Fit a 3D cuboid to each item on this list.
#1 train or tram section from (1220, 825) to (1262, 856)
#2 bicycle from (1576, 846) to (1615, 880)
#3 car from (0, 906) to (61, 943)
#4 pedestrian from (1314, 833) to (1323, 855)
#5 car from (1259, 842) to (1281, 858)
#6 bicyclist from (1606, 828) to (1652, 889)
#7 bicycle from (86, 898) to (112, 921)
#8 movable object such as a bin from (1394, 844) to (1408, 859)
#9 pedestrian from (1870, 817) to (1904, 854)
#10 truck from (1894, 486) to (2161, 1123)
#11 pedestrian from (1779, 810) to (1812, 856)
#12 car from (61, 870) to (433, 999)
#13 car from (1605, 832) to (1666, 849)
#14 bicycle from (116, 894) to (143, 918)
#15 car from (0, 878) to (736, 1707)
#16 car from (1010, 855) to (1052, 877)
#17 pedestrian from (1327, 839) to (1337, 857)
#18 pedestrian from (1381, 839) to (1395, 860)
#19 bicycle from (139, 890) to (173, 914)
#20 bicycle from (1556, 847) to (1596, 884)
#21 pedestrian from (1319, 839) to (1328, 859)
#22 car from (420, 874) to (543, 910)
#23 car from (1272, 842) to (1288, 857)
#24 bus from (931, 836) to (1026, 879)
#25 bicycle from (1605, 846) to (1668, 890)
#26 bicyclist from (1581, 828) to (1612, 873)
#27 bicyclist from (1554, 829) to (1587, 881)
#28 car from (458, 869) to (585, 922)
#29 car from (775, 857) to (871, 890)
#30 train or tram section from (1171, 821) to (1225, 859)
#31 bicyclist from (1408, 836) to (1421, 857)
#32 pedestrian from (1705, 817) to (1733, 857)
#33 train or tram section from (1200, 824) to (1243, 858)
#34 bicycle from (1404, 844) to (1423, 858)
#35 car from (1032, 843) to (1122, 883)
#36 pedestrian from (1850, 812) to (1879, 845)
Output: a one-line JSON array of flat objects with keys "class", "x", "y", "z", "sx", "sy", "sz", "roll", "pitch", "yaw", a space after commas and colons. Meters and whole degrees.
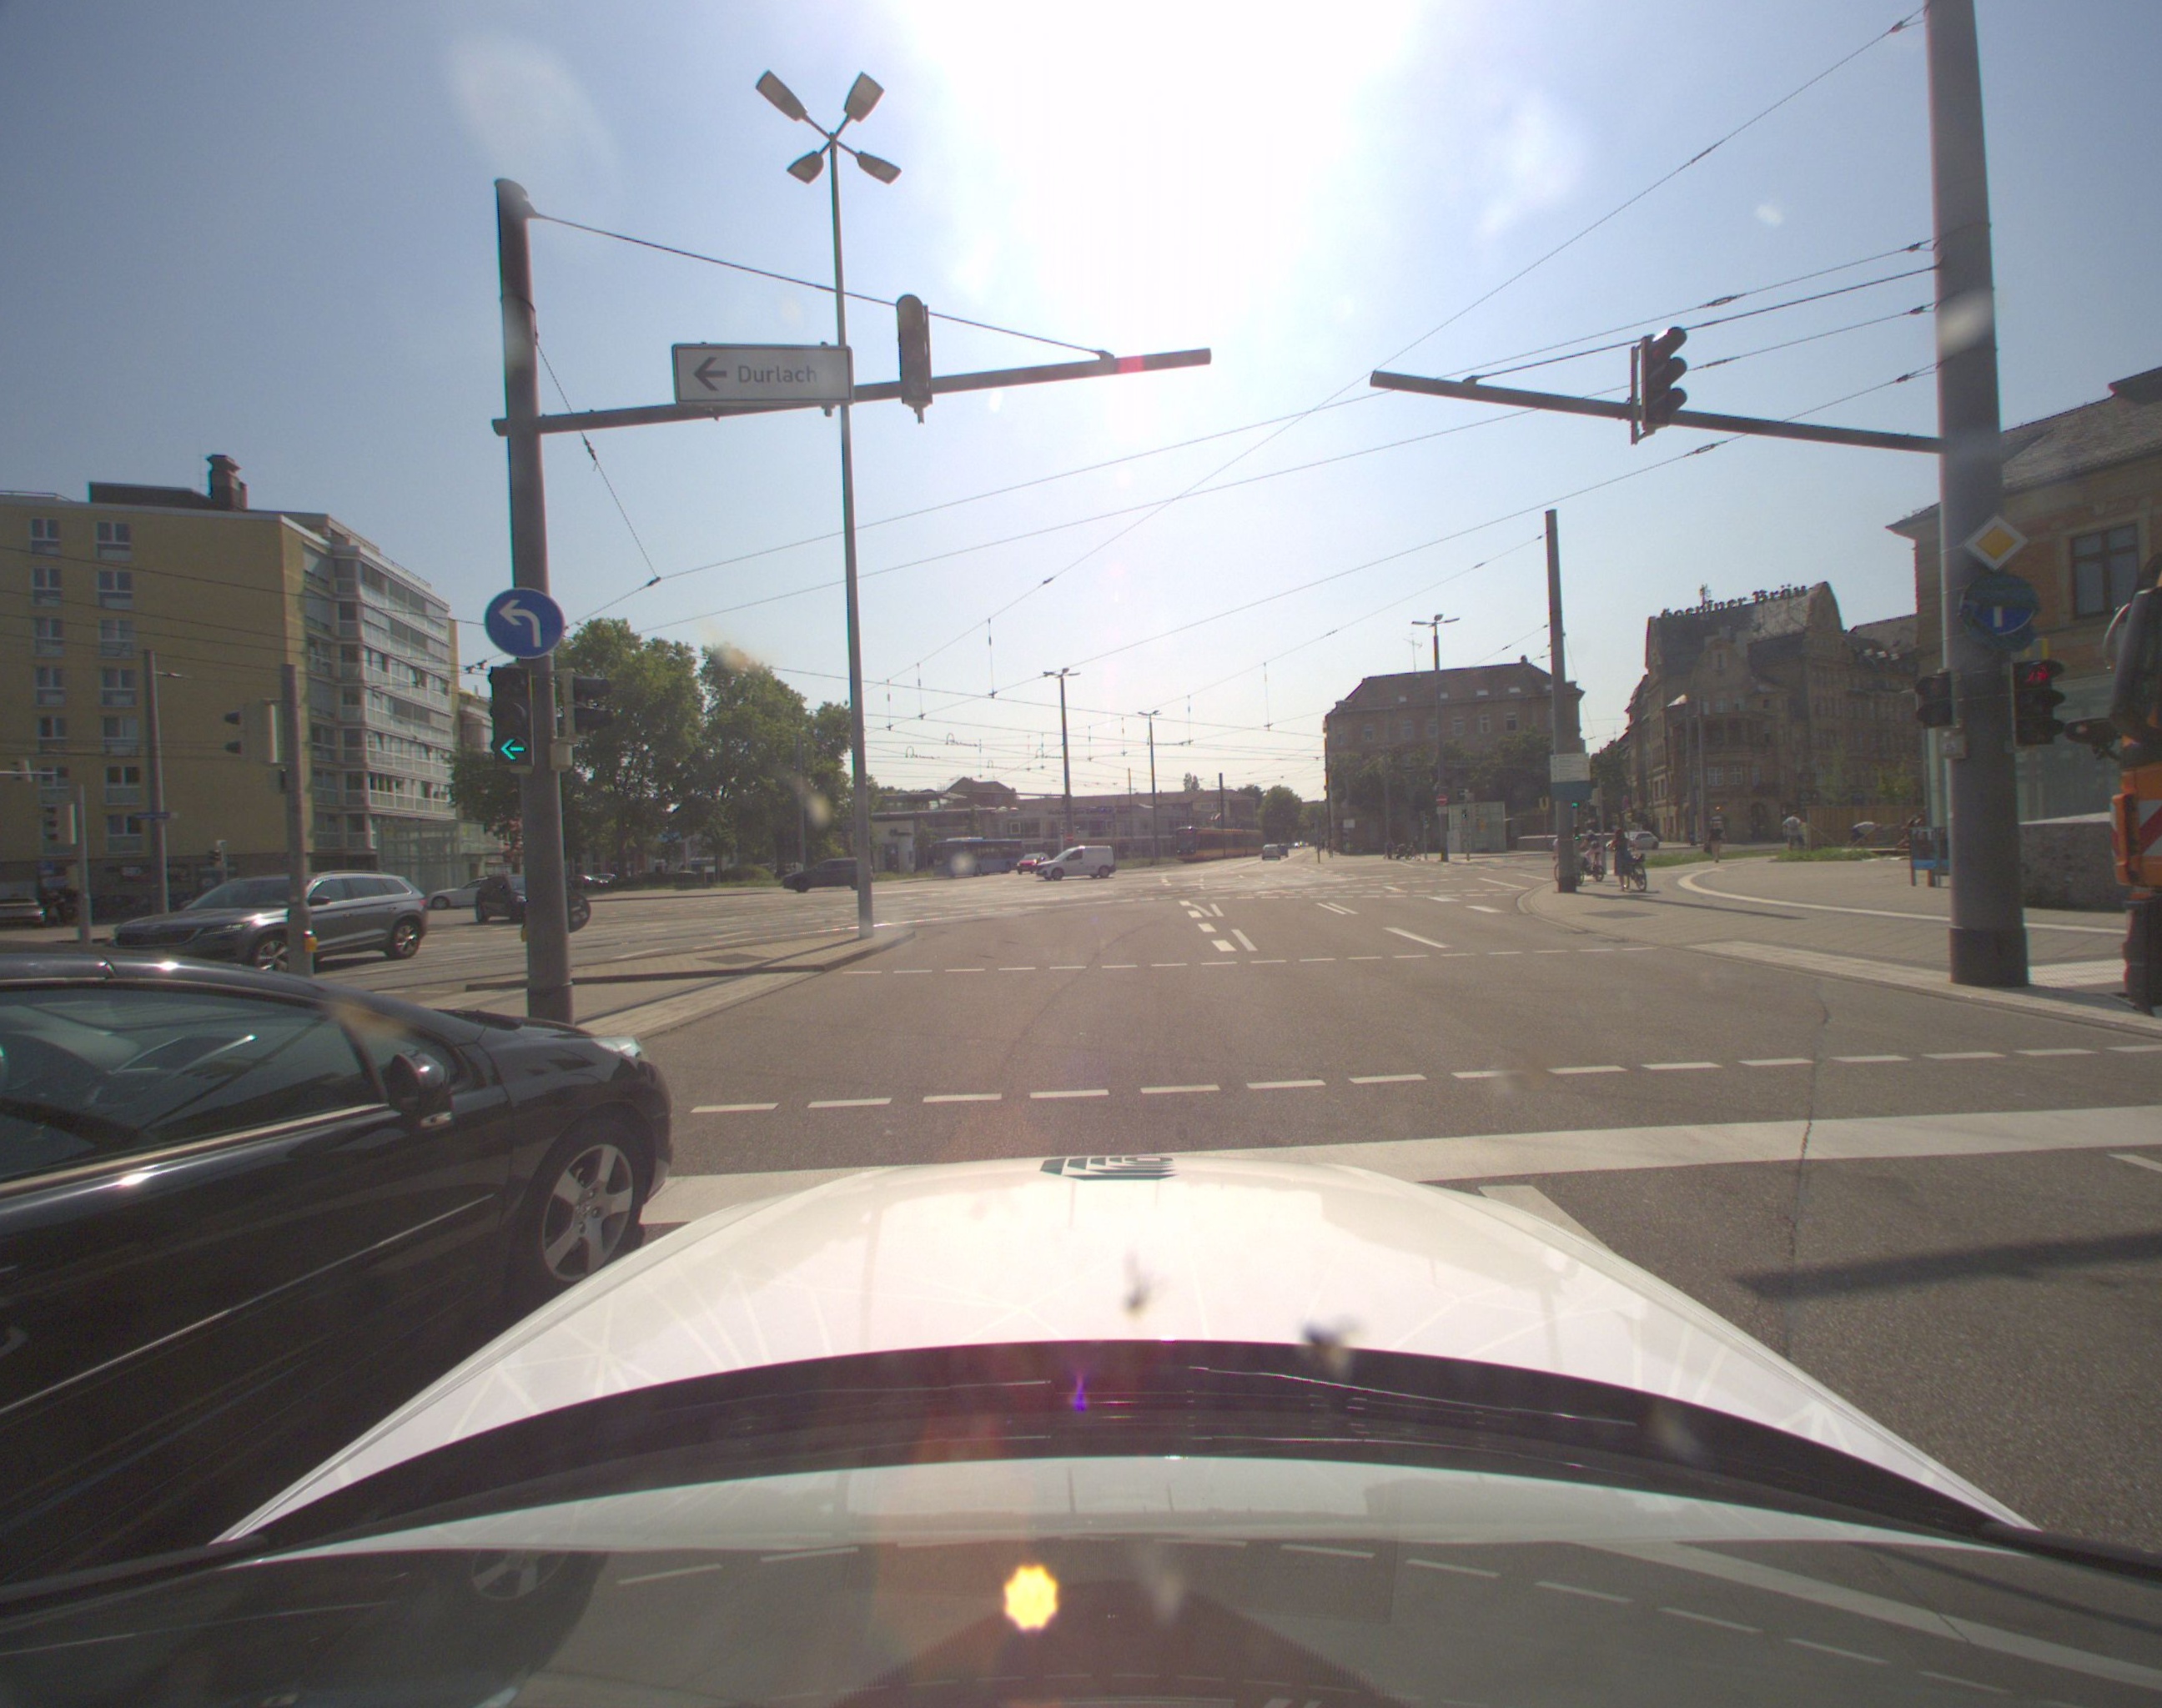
[{"class": "train or tram section", "x": 20.120, "y": -1.684, "z": 101.785, "sx": 2.565, "sy": 3.516, "sz": 13.043, "roll": -2, "pitch": 0, "yaw": 22}, {"class": "bicycle", "x": 16.451, "y": 0.272, "z": 26.055, "sx": 0.532, "sy": 1.055, "sz": 1.660, "roll": -2, "pitch": 0, "yaw": 14}, {"class": "car", "x": -48.164, "y": 3.182, "z": 37.172, "sx": 3.948, "sy": 1.508, "sz": 1.759, "roll": -2, "pitch": 0, "yaw": 35}, {"class": "pedestrian", "x": 33.918, "y": -1.407, "z": 116.330, "sx": 0.978, "sy": 3.017, "sz": 0.977, "roll": -2, "pitch": 0, "yaw": 7}, {"class": "car", "x": 18.459, "y": -0.380, "z": 79.377, "sx": 1.756, "sy": 1.415, "sz": 4.208, "roll": -2, "pitch": 0, "yaw": 17}, {"class": "bicyclist", "x": 14.116, "y": 0.117, "z": 20.990, "sx": 0.730, "sy": 1.517, "sz": 0.665, "roll": -2, "pitch": 0, "yaw": 6}, {"class": "bicycle", "x": -52.986, "y": 2.988, "z": 43.942, "sx": 2.754, "sy": 1.204, "sz": 0.699, "roll": -3, "pitch": 0, "yaw": 36}, {"class": "movable object such as a bin", "x": 24.244, "y": -0.184, "z": 61.690, "sx": 0.812, "sy": 1.077, "sz": 0.510, "roll": -2, "pitch": 0, "yaw": -9}, {"class": "pedestrian", "x": 31.843, "y": -0.737, "z": 32.165, "sx": 0.768, "sy": 1.399, "sz": 0.687, "roll": -2, "pitch": 0, "yaw": -23}, {"class": "truck", "x": 6.411, "y": -0.264, "z": 1.878, "sx": 2.481, "sy": 3.134, "sz": 6.869, "roll": -2, "pitch": 0, "yaw": 4}, {"class": "pedestrian", "x": 27.164, "y": -0.785, "z": 30.948, "sx": 0.549, "sy": 1.724, "sz": 0.812, "roll": -2, "pitch": 0, "yaw": -39}, {"class": "car", "x": -13.177, "y": 1.140, "z": 13.394, "sx": 1.764, "sy": 1.600, "sz": 4.532, "roll": -2, "pitch": 0, "yaw": -7}, {"class": "car", "x": 42.347, "y": -1.029, "z": 62.198, "sx": 4.003, "sy": 1.090, "sz": 1.986, "roll": -2, "pitch": 0, "yaw": -22}, {"class": "bicycle", "x": -51.454, "y": 2.820, "z": 44.026, "sx": 3.220, "sy": 1.204, "sz": 0.699, "roll": -3, "pitch": 0, "yaw": 36}, {"class": "car", "x": -2.628, "y": 0.820, "z": 1.844, "sx": 1.757, "sy": 1.388, "sz": 3.787, "roll": -1, "pitch": 0, "yaw": 6}, {"class": "car", "x": -3.849, "y": 0.942, "z": 63.604, "sx": 1.735, "sy": 1.552, "sz": 4.020, "roll": -3, "pitch": 0, "yaw": 20}, {"class": "pedestrian", "x": 22.458, "y": -0.546, "z": 72.863, "sx": 0.699, "sy": 1.603, "sz": 0.572, "roll": -2, "pitch": 0, "yaw": -6}, {"class": "pedestrian", "x": 23.409, "y": -0.350, "z": 62.120, "sx": 0.849, "sy": 1.545, "sz": 0.527, "roll": -2, "pitch": 0, "yaw": -6}, {"class": "bicycle", "x": -50.363, "y": 2.614, "z": 44.324, "sx": 3.220, "sy": 1.204, "sz": 0.916, "roll": -3, "pitch": 0, "yaw": 36}, {"class": "bicycle", "x": 14.780, "y": 0.331, "z": 24.351, "sx": 0.532, "sy": 1.055, "sz": 1.660, "roll": -2, "pitch": 0, "yaw": 14}, {"class": "pedestrian", "x": 35.553, "y": -0.730, "z": 119.577, "sx": 0.979, "sy": 3.017, "sz": 0.976, "roll": -2, "pitch": 0, "yaw": 5}, {"class": "car", "x": -27.849, "y": 1.746, "z": 37.988, "sx": 4.199, "sy": 1.415, "sz": 1.765, "roll": -2, "pitch": 0, "yaw": -18}, {"class": "car", "x": 21.996, "y": -0.491, "z": 90.013, "sx": 1.625, "sy": 1.618, "sz": 4.016, "roll": -2, "pitch": 0, "yaw": 14}, {"class": "bus", "x": -8.092, "y": 0.207, "z": 66.999, "sx": 2.541, "sy": 3.082, "sz": 12.082, "roll": -3, "pitch": 0, "yaw": 19}, {"class": "bicycle", "x": 14.102, "y": 0.332, "z": 20.730, "sx": 0.489, "sy": 1.055, "sz": 1.826, "roll": -2, "pitch": 0, "yaw": 7}, {"class": "bicyclist", "x": 16.368, "y": -0.113, "z": 25.880, "sx": 0.526, "sy": 1.393, "sz": 0.897, "roll": -2, "pitch": 0, "yaw": 14}, {"class": "bicyclist", "x": 14.746, "y": 0.019, "z": 24.538, "sx": 0.623, "sy": 1.517, "sz": 0.715, "roll": -2, "pitch": 0, "yaw": 14}, {"class": "car", "x": -18.329, "y": 1.345, "z": 26.636, "sx": 4.154, "sy": 1.560, "sz": 1.750, "roll": -2, "pitch": 0, "yaw": 30}, {"class": "car", "x": -13.445, "y": 1.001, "z": 42.594, "sx": 4.624, "sy": 1.505, "sz": 1.987, "roll": -2, "pitch": 0, "yaw": -19}, {"class": "train or tram section", "x": 11.903, "y": -1.372, "z": 81.736, "sx": 2.565, "sy": 3.516, "sz": 10.958, "roll": -2, "pitch": 0, "yaw": 22}, {"class": "bicyclist", "x": 24.413, "y": -0.572, "z": 59.653, "sx": 0.612, "sy": 1.528, "sz": 0.519, "roll": -2, "pitch": 0, "yaw": -12}, {"class": "pedestrian", "x": 25.421, "y": -0.671, "z": 32.461, "sx": 0.794, "sy": 1.575, "sz": 0.729, "roll": -2, "pitch": 0, "yaw": -44}, {"class": "train or tram section", "x": 15.853, "y": -1.478, "z": 91.289, "sx": 2.566, "sy": 3.516, "sz": 9.711, "roll": -2, "pitch": 0, "yaw": 22}, {"class": "bicycle", "x": 24.383, "y": -0.211, "z": 59.794, "sx": 0.469, "sy": 1.055, "sz": 1.647, "roll": -2, "pitch": 0, "yaw": -11}, {"class": "car", "x": -0.223, "y": 0.487, "z": 45.943, "sx": 4.627, "sy": 2.013, "sz": 1.986, "roll": -2, "pitch": 0, "yaw": -21}, {"class": "pedestrian", "x": 30.143, "y": -0.971, "z": 31.353, "sx": 0.658, "sy": 1.214, "sz": 0.531, "roll": -2, "pitch": 0, "yaw": 30}]
